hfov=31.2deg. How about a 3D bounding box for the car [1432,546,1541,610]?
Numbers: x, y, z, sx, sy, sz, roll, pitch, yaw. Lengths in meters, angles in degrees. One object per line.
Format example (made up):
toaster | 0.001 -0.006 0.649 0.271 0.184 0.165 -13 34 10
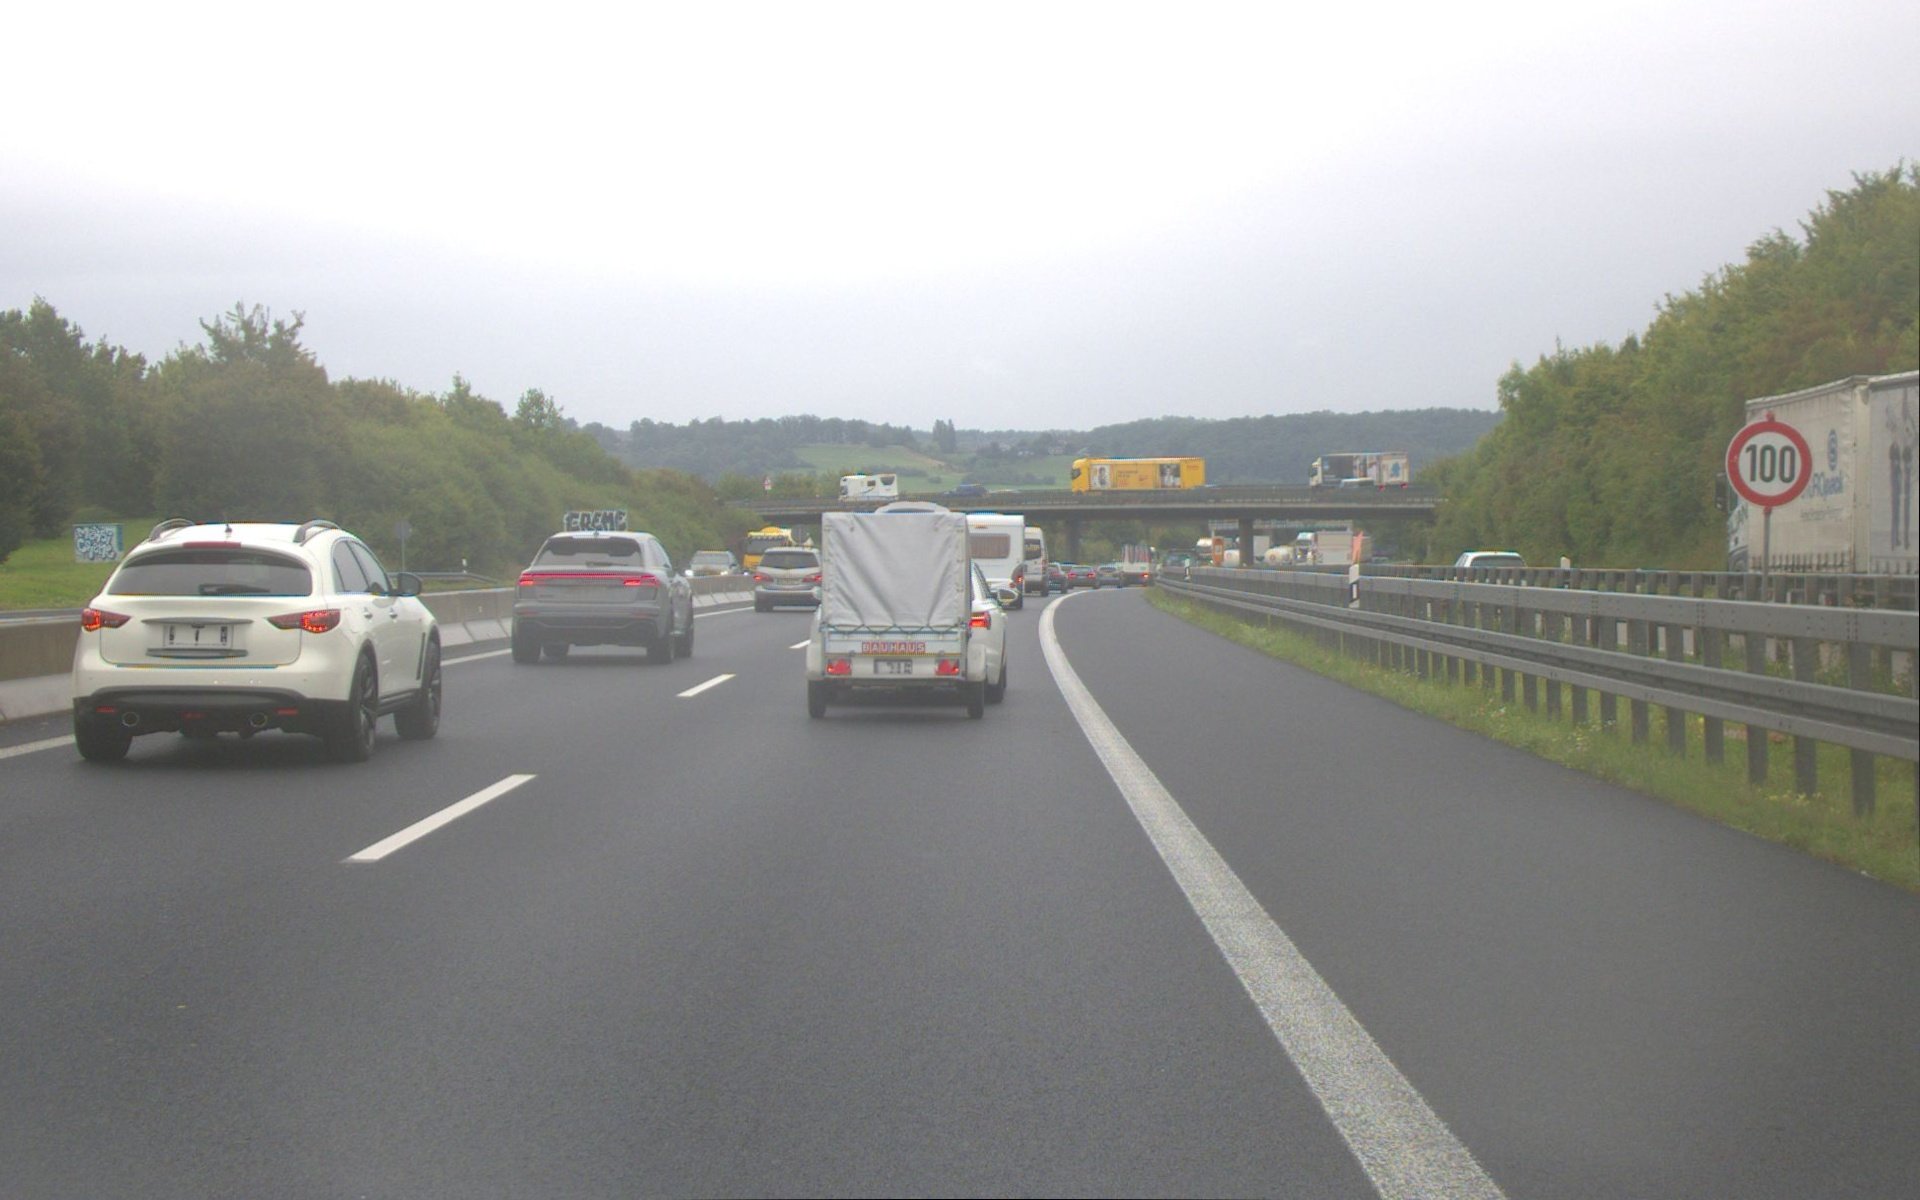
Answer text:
car | 12.033 -0.521 78.766 1.860 1.442 4.158 0 1 0

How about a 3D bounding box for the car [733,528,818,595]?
car | -4.547 -0.974 85.338 1.900 1.607 4.017 0 1 0

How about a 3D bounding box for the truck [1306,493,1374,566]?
truck | 27.001 -5.028 244.762 4.094 5.086 10.463 0 1 2

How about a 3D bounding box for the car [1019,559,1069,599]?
car | 3.734 -0.951 153.080 1.993 1.744 4.000 1 1 -2

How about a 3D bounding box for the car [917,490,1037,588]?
car | 0.516 -1.689 94.717 3.017 2.607 6.074 0 1 3

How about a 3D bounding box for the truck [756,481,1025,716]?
truck | -0.523 -0.086 32.622 2.019 1.979 7.212 0 1 3

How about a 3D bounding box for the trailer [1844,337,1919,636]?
trailer | 15.477 -1.605 48.278 3.437 4.274 10.454 0 1 0

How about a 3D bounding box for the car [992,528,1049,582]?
car | 2.330 -1.753 133.820 1.993 2.029 4.152 1 1 -2

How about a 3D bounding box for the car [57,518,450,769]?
car | -4.935 0.247 24.641 1.976 1.633 4.501 0 1 -1

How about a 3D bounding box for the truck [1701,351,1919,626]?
truck | 15.497 -1.834 58.734 3.437 4.274 10.418 0 1 0

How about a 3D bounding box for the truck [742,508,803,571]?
truck | -10.443 -3.357 191.848 2.762 3.386 5.845 1 1 3

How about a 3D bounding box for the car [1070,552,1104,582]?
car | 7.719 -1.993 208.180 1.994 1.744 4.000 1 1 2

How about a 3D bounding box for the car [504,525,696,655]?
car | -4.673 -0.158 45.222 2.174 1.626 4.501 0 1 -2

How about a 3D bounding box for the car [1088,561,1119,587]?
car | 9.899 -1.781 236.884 1.994 1.744 4.000 1 1 3

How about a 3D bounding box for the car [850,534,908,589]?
car | -2.684 -1.299 114.393 1.842 1.813 4.000 0 1 0
